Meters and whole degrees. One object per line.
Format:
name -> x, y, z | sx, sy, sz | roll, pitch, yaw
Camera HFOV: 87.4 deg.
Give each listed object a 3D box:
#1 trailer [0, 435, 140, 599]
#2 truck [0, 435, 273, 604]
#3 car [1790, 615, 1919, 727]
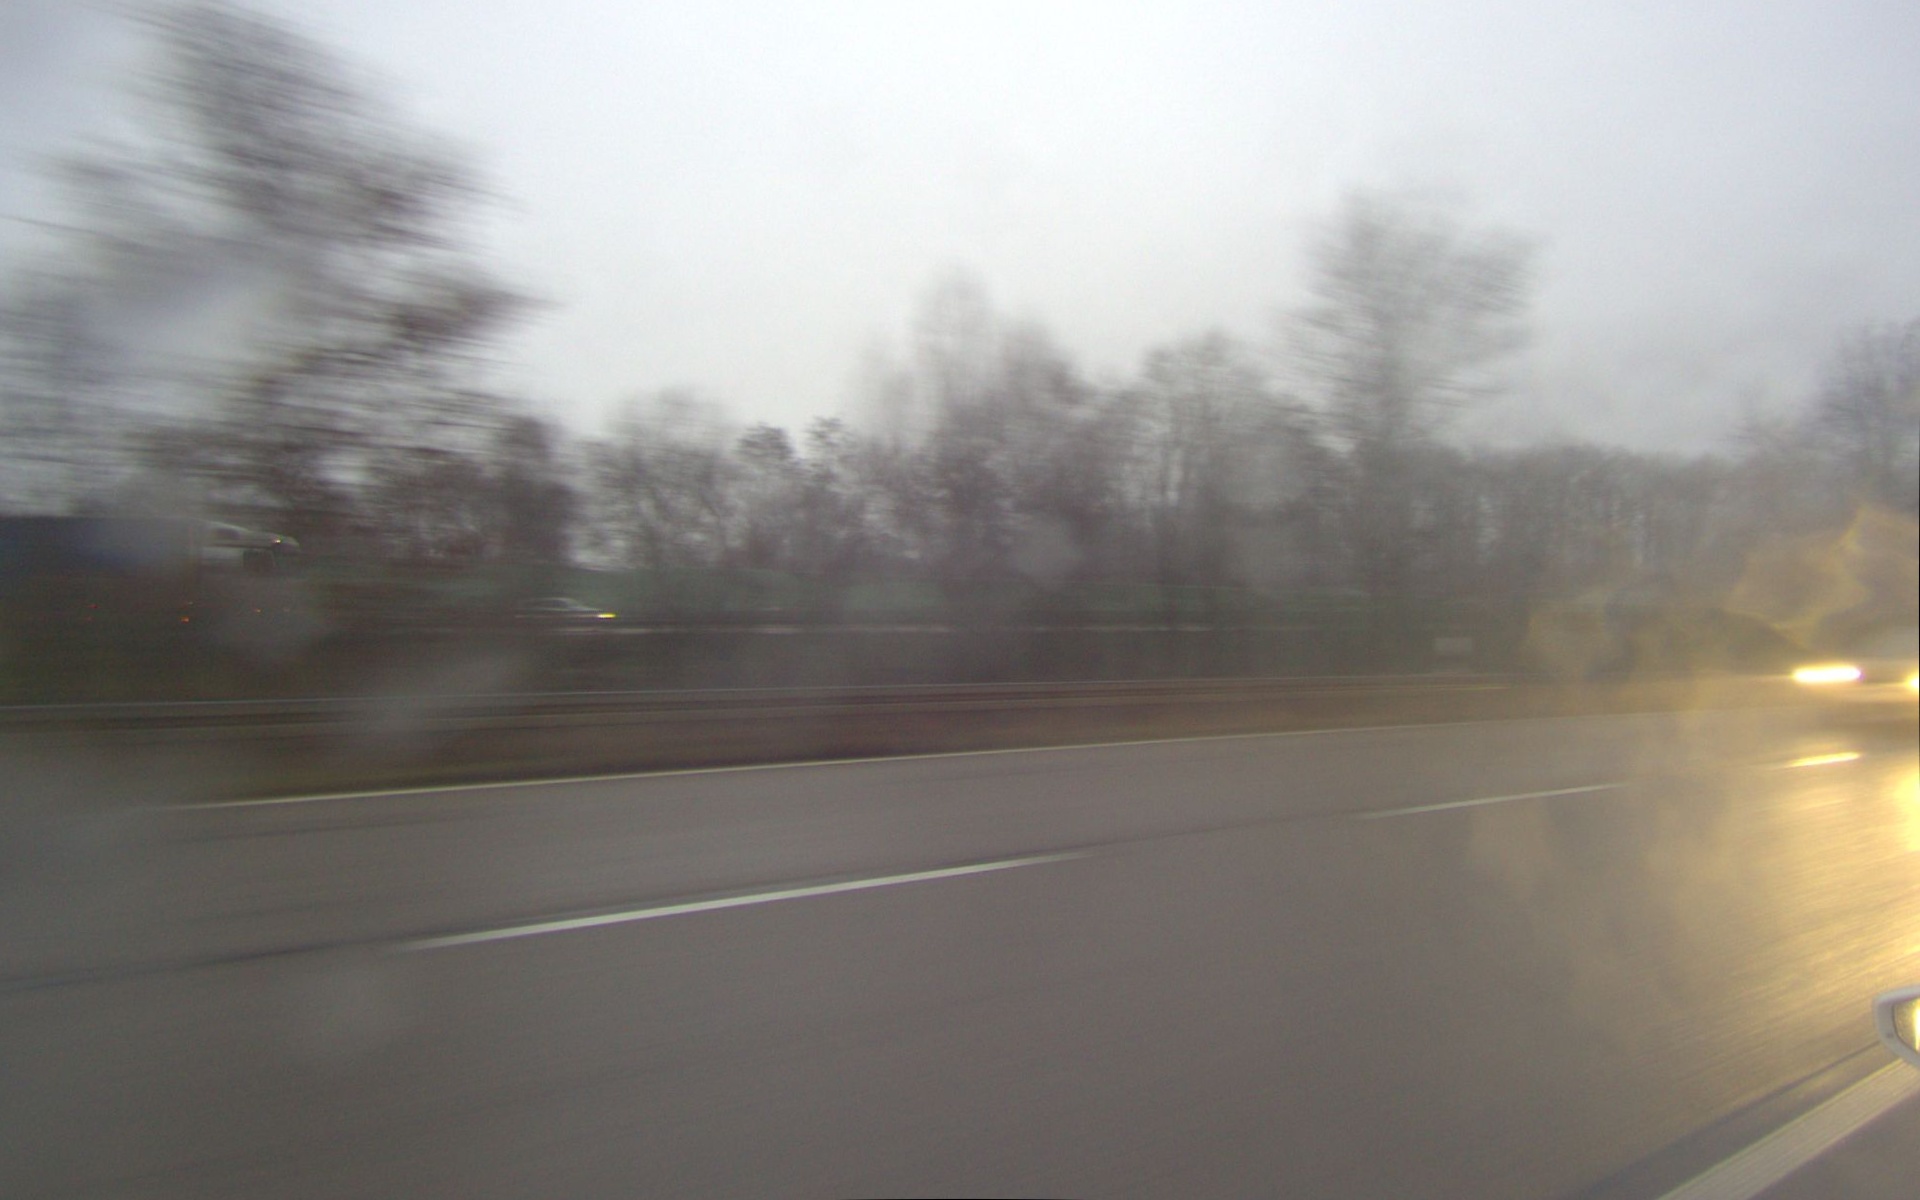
trailer -> -35.809, -2.897, 33.155 | 13.014, 5.170, 3.302 | 2, -2, -16
truck -> -29.550, -2.647, 35.033 | 8.382, 5.197, 3.275 | 2, -2, -17
car -> 14.778, 1.018, 15.212 | 4.465, 1.521, 1.856 | 1, -1, -28
